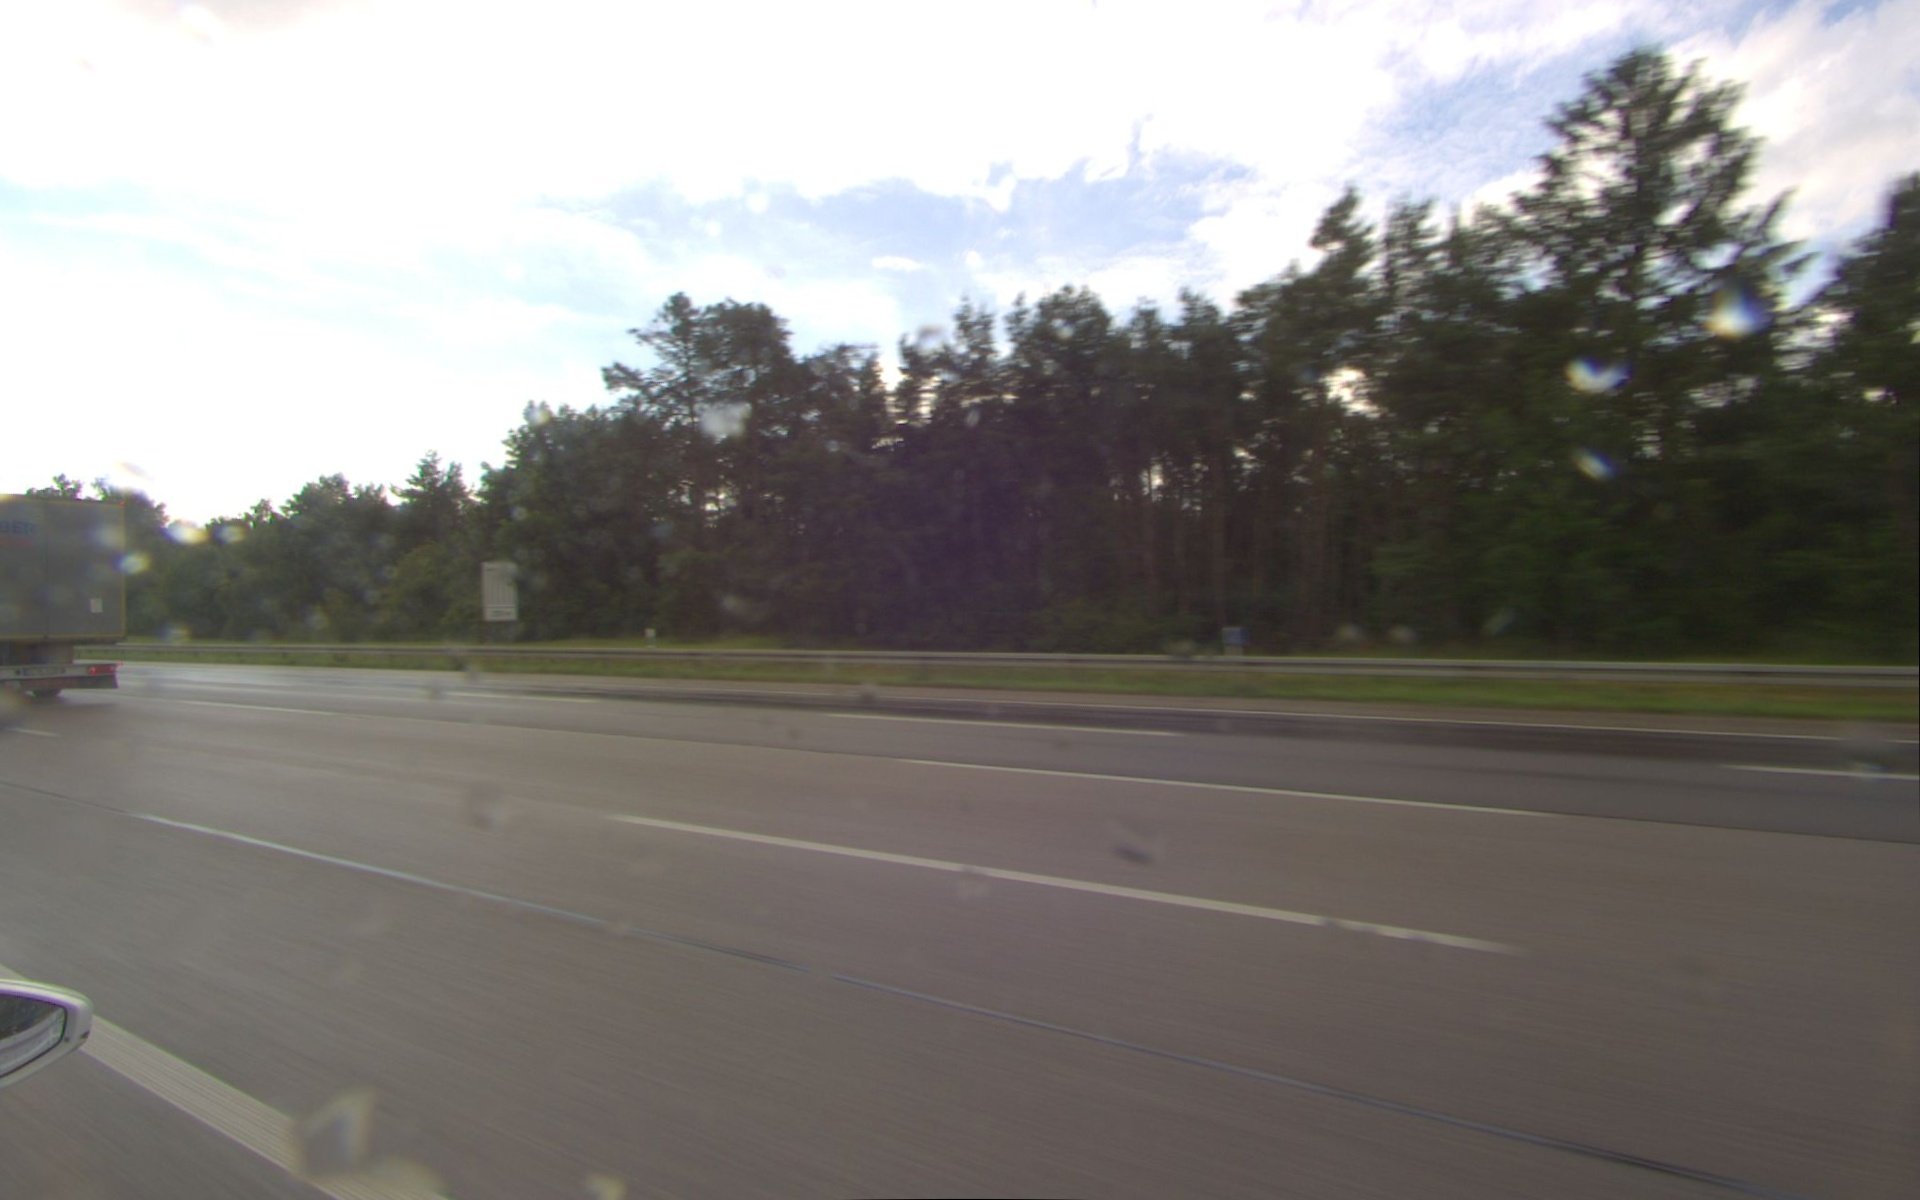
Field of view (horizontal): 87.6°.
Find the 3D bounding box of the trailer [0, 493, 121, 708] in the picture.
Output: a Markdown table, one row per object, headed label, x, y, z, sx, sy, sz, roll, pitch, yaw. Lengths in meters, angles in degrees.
| label | x | y | z | sx | sy | sz | roll | pitch | yaw |
| --- | --- | --- | --- | --- | --- | --- | --- | --- | --- |
| trailer | -23.390 | 0.116 | 22.954 | 13.217 | 4.053 | 2.320 | -1 | -1 | 32 |
